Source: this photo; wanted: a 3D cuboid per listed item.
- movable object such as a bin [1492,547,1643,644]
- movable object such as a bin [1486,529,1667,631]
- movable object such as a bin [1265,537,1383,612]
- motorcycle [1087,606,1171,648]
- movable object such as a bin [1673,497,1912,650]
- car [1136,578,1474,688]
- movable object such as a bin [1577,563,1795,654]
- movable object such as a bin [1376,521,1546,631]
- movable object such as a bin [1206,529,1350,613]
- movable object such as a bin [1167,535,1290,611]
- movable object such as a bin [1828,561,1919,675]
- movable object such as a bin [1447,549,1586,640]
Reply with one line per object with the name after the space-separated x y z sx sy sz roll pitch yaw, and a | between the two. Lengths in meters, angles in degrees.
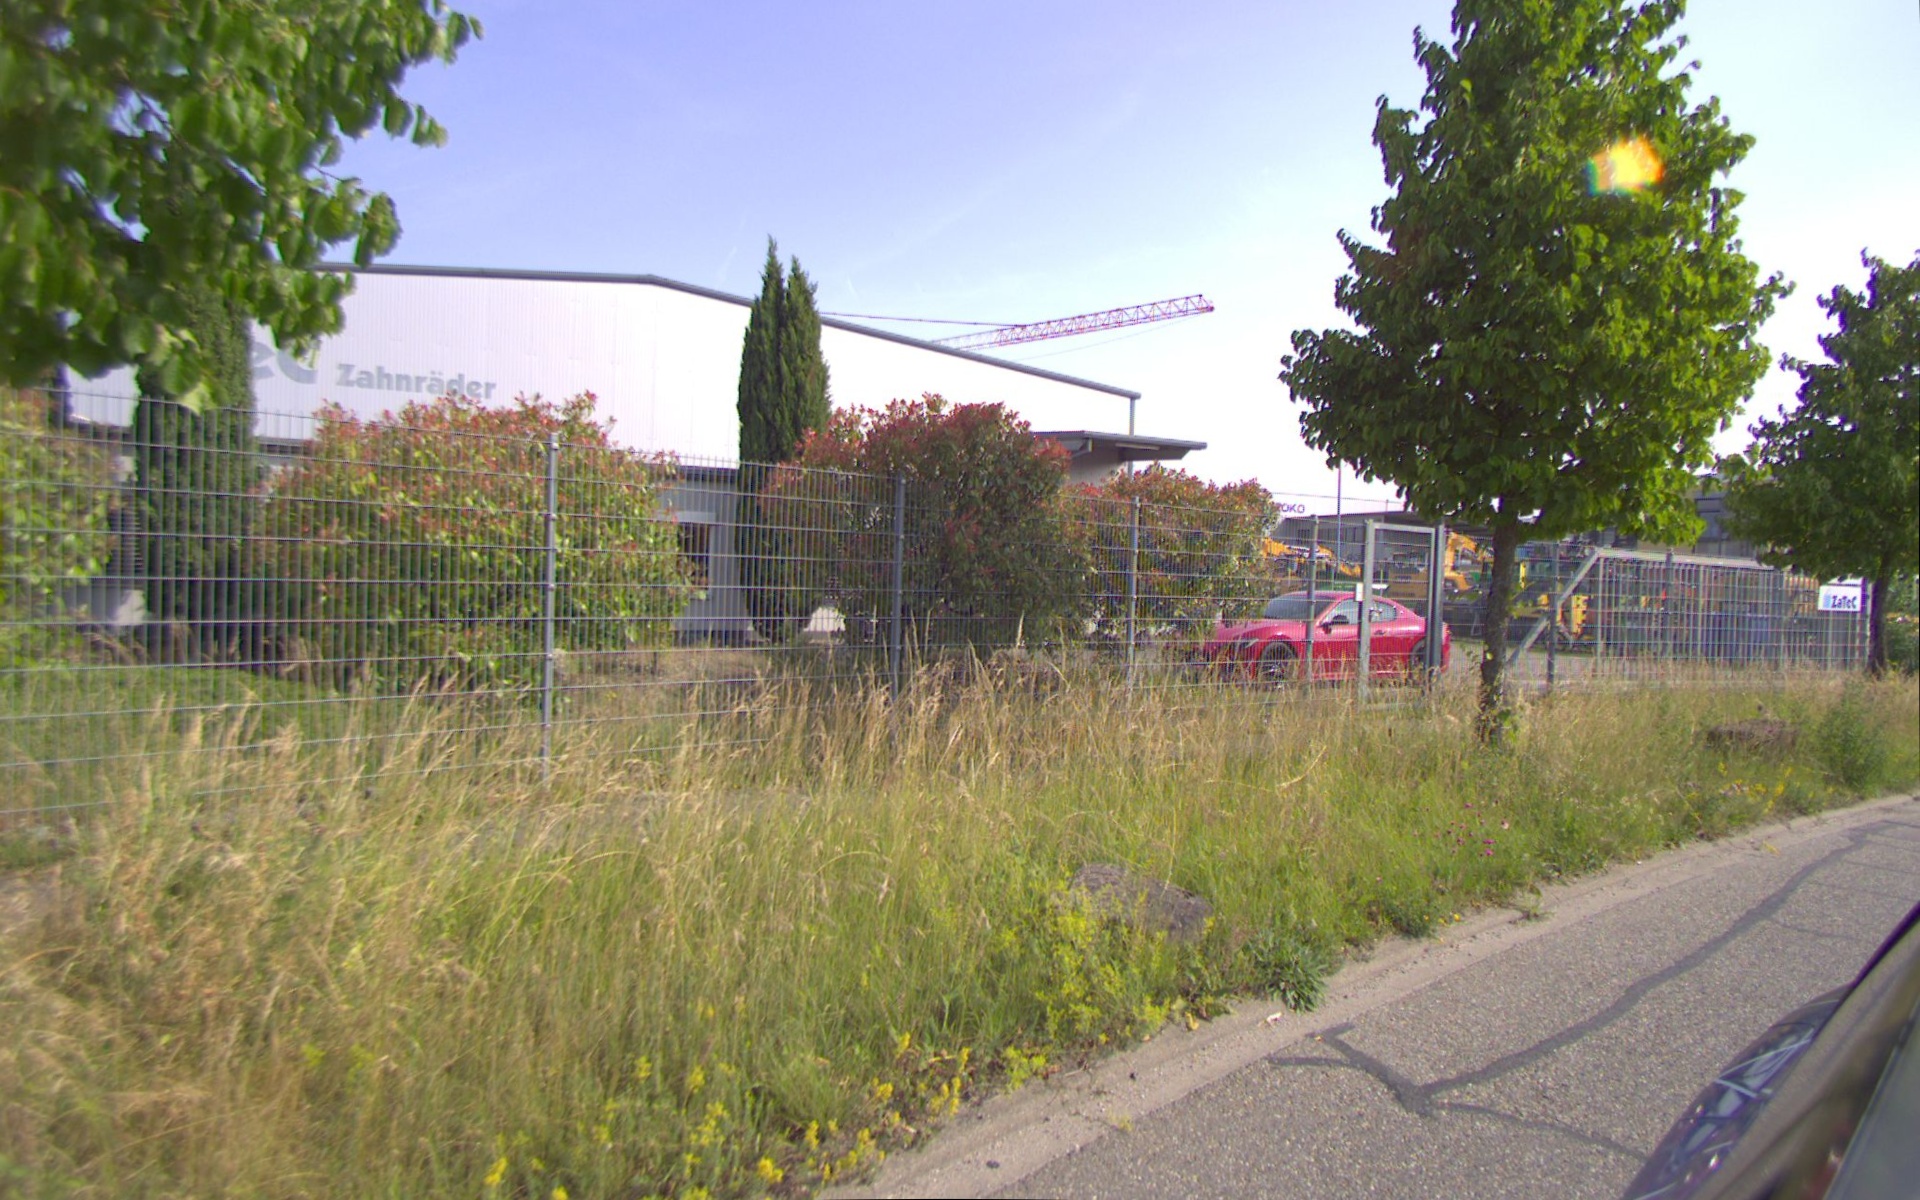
20.446 -0.136 34.066 4.397 3.069 2.004 1 1 -22 | movable object such as a bin
26.397 -0.829 43.350 7.056 3.977 2.934 2 2 -24 | movable object such as a bin
20.340 -1.405 56.512 5.899 3.977 2.731 1 2 -27 | movable object such as a bin
3.311 0.534 19.835 1.550 0.760 0.537 2 2 -23 | motorcycle
29.405 -0.856 35.758 7.512 4.866 3.334 2 1 -24 | movable object such as a bin
5.081 0.453 14.818 4.674 1.374 1.890 1 1 -26 | car
22.031 0.246 30.770 5.226 2.522 2.939 1 2 -22 | movable object such as a bin
19.367 -0.894 39.152 5.598 3.921 2.699 1 1 -22 | movable object such as a bin
16.154 -1.433 51.372 7.053 3.977 2.479 1 2 -26 | movable object such as a bin
14.306 -1.425 53.866 6.016 3.827 2.464 1 2 -26 | movable object such as a bin
25.558 0.462 26.644 5.051 2.786 1.897 1 1 -22 | movable object such as a bin
20.030 -0.193 36.420 4.281 3.069 2.004 1 1 -22 | movable object such as a bin
